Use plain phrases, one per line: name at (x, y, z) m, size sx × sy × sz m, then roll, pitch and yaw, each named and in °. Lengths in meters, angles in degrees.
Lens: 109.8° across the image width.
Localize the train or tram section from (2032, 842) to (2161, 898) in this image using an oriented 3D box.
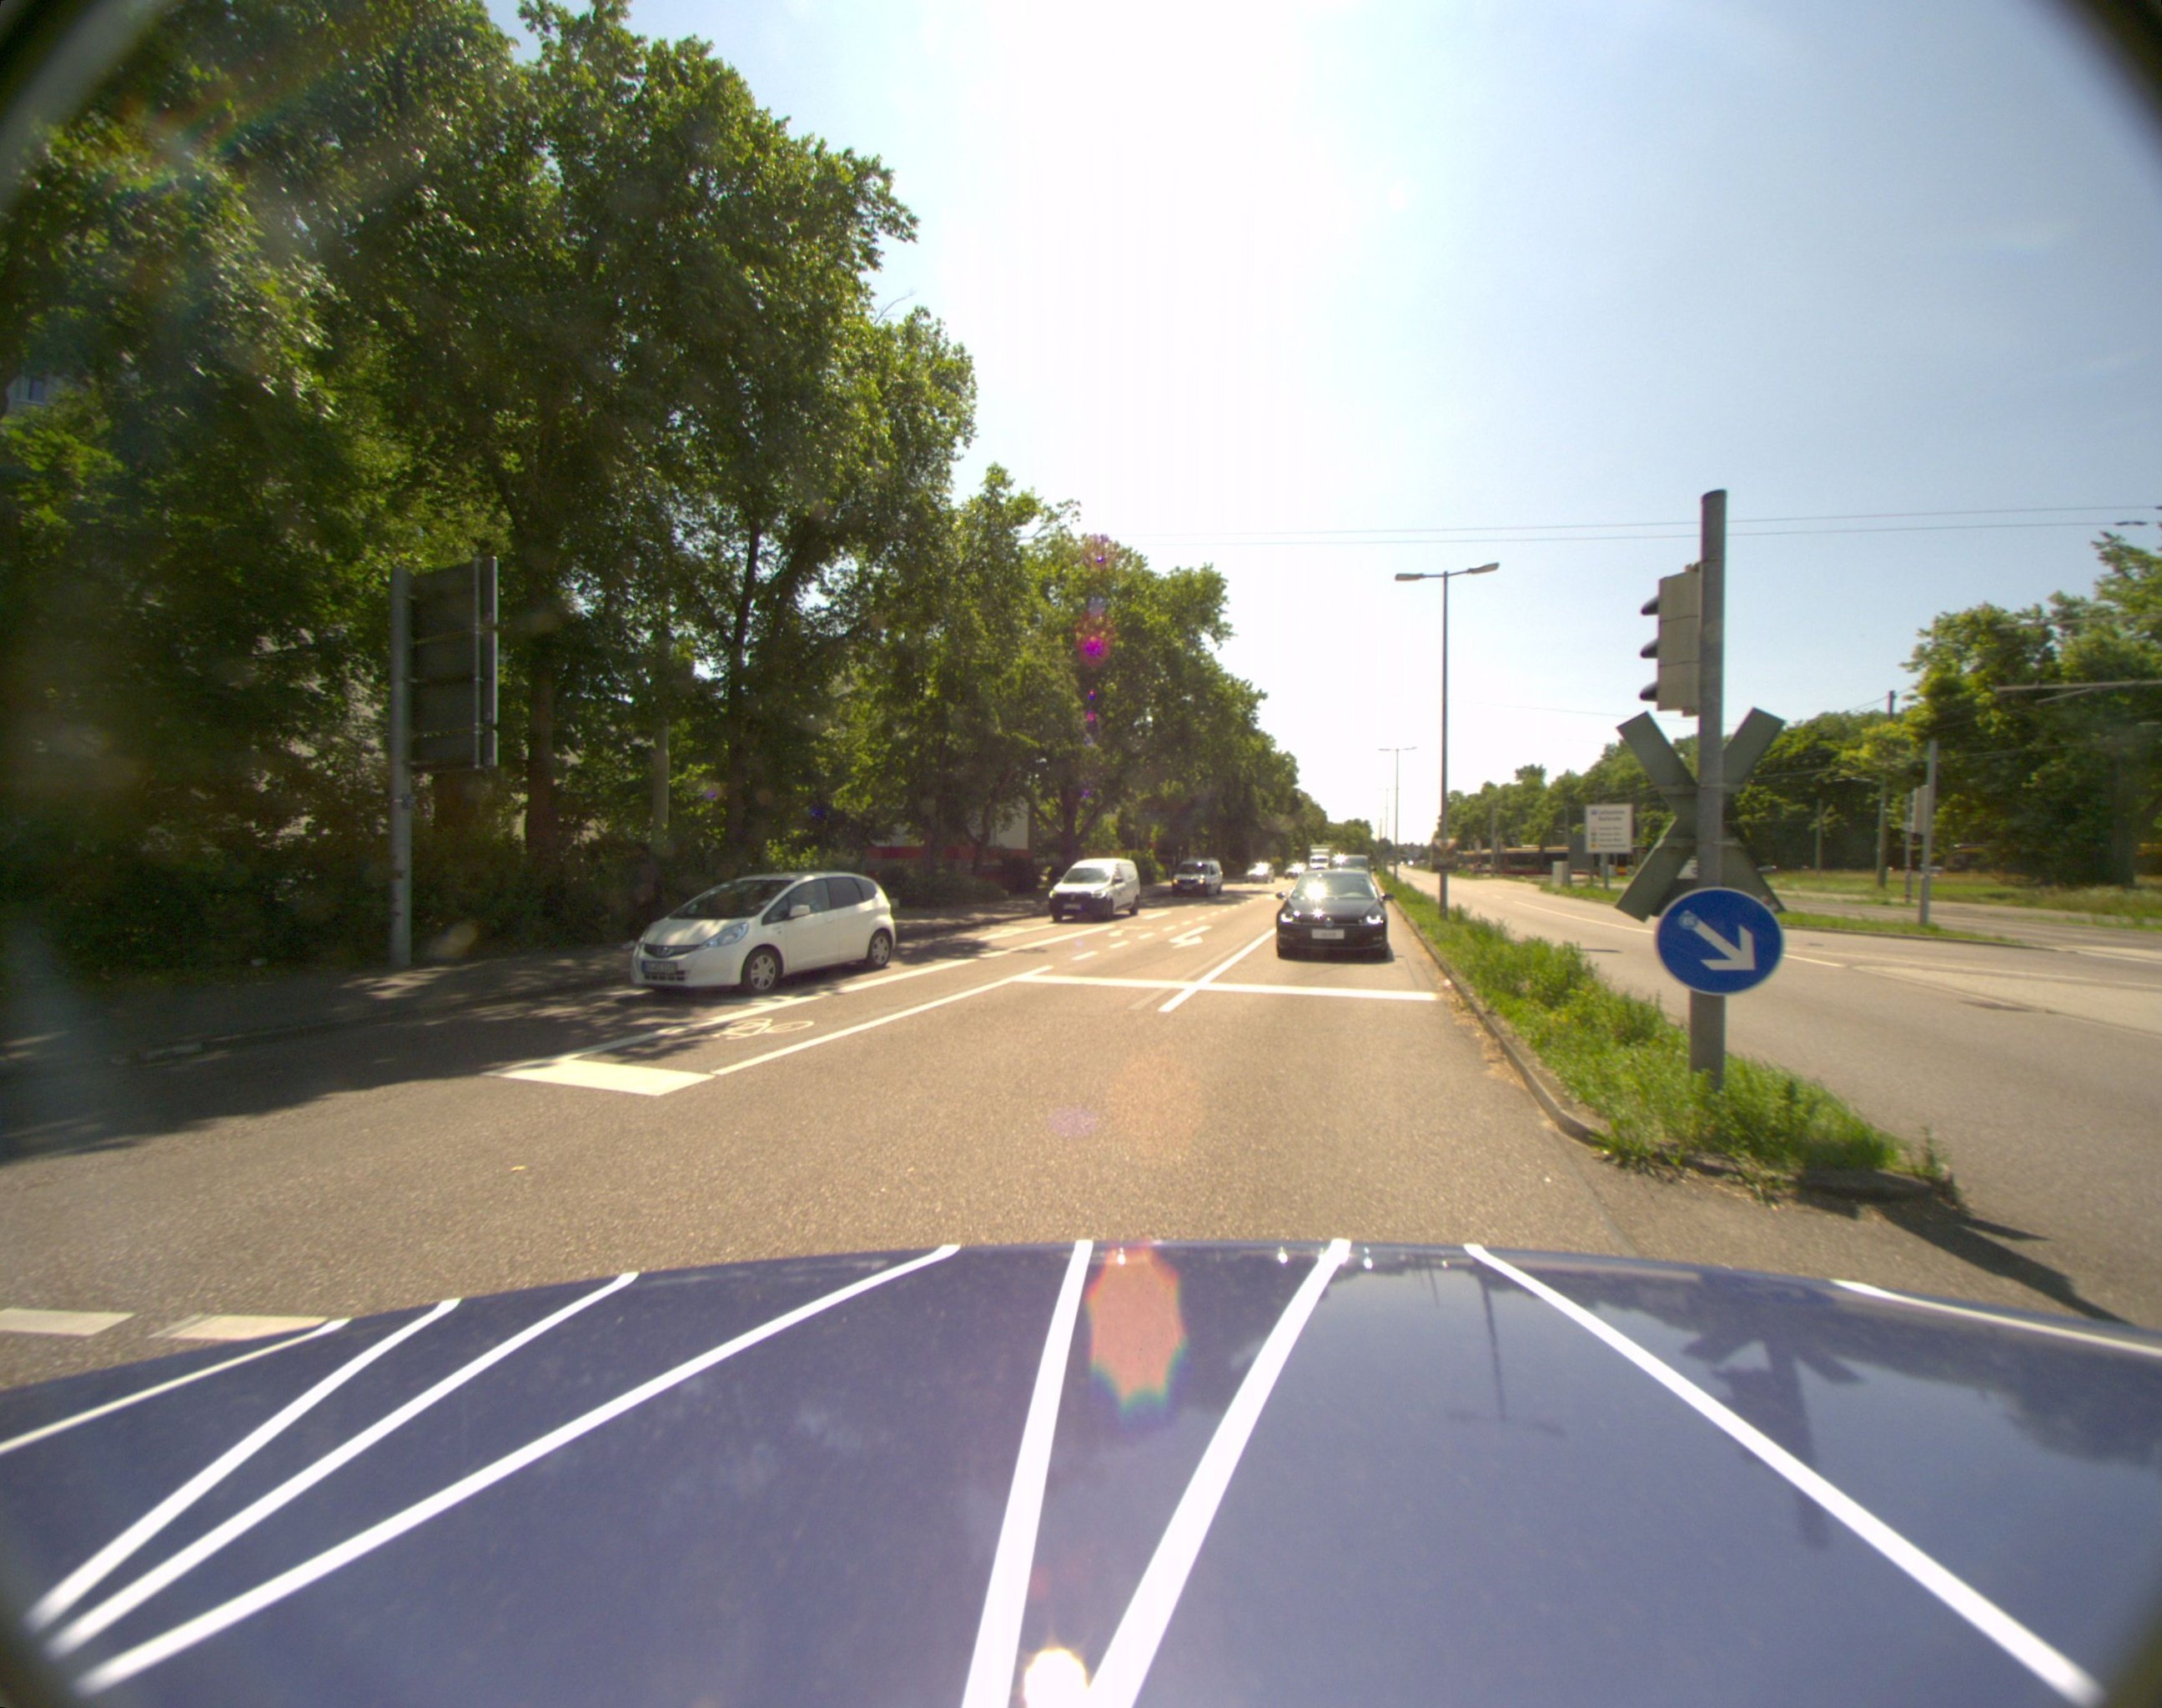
train or tram section at (74.129, 1.038, 49.998) m, size 3.031 × 3.736 × 14.159 m, roll 0°, pitch -1°, yaw -33°

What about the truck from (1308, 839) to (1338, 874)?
truck at (26.213, 0.238, 82.132) m, size 2.582 × 3.512 × 7.723 m, roll -2°, pitch 0°, yaw 21°

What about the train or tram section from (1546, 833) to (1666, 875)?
train or tram section at (56.938, 0.111, 83.087) m, size 3.026 × 4.229 × 12.742 m, roll 0°, pitch -1°, yaw -8°

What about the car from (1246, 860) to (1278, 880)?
car at (13.652, 1.158, 57.065) m, size 1.845 × 1.417 × 4.221 m, roll 0°, pitch 0°, yaw 20°

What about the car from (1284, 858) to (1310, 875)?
car at (19.410, 1.130, 68.201) m, size 1.845 × 1.417 × 4.221 m, roll 0°, pitch 0°, yaw 21°

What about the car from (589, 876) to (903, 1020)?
car at (-4.290, 1.092, 10.460) m, size 1.728 × 1.496 × 3.904 m, roll 0°, pitch 0°, yaw 20°

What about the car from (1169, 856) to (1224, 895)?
car at (5.791, 1.025, 37.671) m, size 1.892 × 1.782 × 4.399 m, roll -2°, pitch 0°, yaw 19°

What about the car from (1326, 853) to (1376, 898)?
car at (12.574, 0.919, 35.262) m, size 1.938 × 1.920 × 4.854 m, roll 1°, pitch 1°, yaw 22°

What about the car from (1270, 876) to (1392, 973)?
car at (4.572, 1.108, 13.506) m, size 1.706 × 1.396 × 4.061 m, roll -1°, pitch -1°, yaw 23°

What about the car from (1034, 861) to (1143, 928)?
car at (0.353, 1.089, 22.304) m, size 1.807 × 1.707 × 4.350 m, roll 0°, pitch 0°, yaw 20°

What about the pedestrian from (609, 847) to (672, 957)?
pedestrian at (-7.542, 0.794, 13.015) m, size 0.606 × 1.825 × 0.680 m, roll 2°, pitch 1°, yaw 18°

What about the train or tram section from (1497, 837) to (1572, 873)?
train or tram section at (56.636, 0.257, 95.342) m, size 3.022 × 4.229 × 12.758 m, roll 0°, pitch -1°, yaw 6°

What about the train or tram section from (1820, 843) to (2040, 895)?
train or tram section at (66.671, 1.188, 60.151) m, size 3.032 × 3.736 × 11.410 m, roll 0°, pitch -1°, yaw -39°
